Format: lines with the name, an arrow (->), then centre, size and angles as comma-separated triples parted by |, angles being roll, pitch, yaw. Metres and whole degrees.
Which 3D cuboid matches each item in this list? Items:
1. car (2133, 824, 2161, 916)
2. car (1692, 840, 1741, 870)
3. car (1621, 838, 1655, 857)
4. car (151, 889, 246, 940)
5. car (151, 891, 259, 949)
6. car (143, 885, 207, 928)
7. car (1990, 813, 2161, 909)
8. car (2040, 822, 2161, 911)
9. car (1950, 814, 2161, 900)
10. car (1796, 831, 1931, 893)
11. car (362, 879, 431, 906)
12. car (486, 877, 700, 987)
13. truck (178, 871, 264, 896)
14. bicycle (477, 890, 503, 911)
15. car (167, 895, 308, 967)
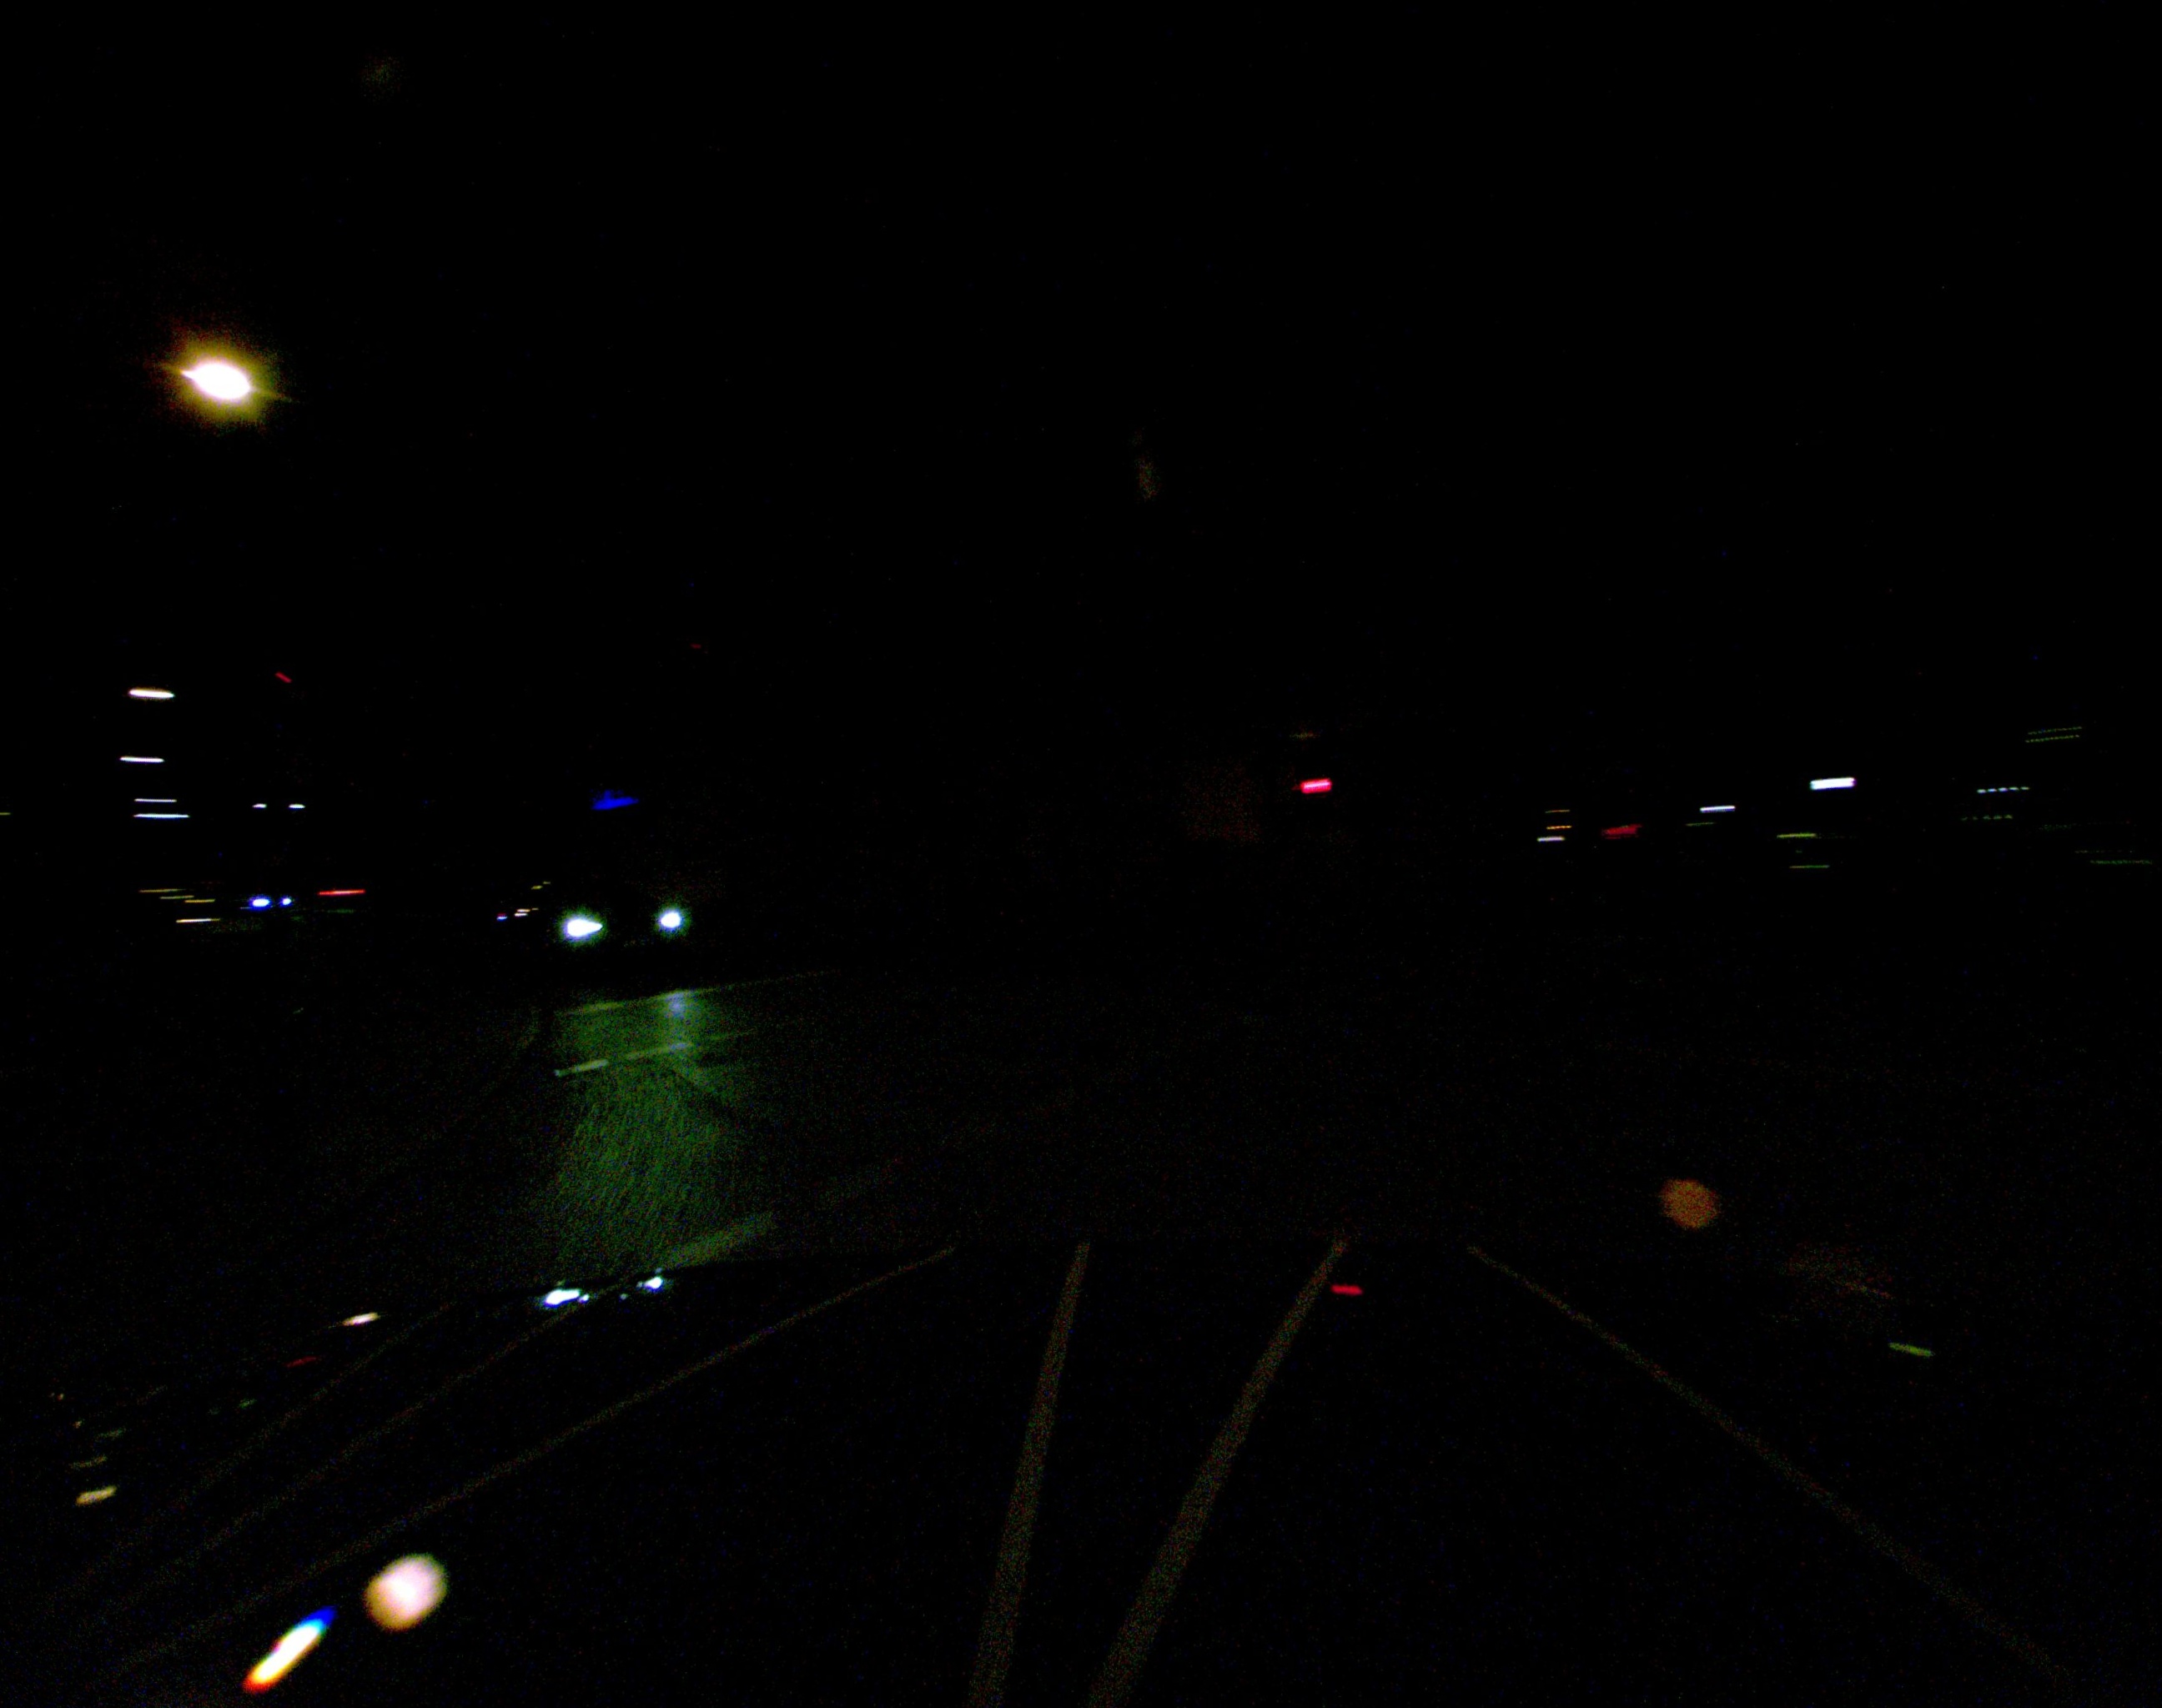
car -> 20.609, 0.219, 12.129 | 3.989, 1.613, 2.004 | -3, 1, 34
car -> 37.468, 0.017, 44.853 | 1.994, 1.624, 4.008 | -2, 1, 37
car -> 50.533, -0.574, 68.974 | 1.995, 1.624, 4.007 | -2, 0, 29
car -> -31.520, 2.120, 27.105 | 4.446, 1.613, 1.833 | -3, -1, 36
car -> -27.443, 1.999, 23.775 | 4.534, 1.535, 1.784 | -2, 1, 36
car -> -42.711, 2.461, 35.786 | 4.761, 1.863, 1.810 | -3, -2, 38
car -> 22.867, 0.125, 16.225 | 3.989, 1.934, 2.004 | -3, 1, 34
car -> 21.556, 0.180, 14.241 | 3.989, 1.613, 2.004 | -3, 1, 34
car -> 24.088, 0.074, 18.130 | 3.989, 1.875, 2.004 | -3, 1, 34
car -> 24.178, 0.207, 23.675 | 1.995, 1.771, 4.007 | -2, 0, 32
car -> -55.952, 3.102, 62.185 | 4.007, 1.878, 1.904 | -2, 1, -39
car -> -8.802, 1.283, 13.605 | 3.989, 1.606, 2.004 | -2, -1, 38
truck -> -145.593, 4.913, 128.818 | 9.375, 3.700, 1.995 | -2, 1, -36
bicycle -> -30.361, 2.372, 39.024 | 1.717, 1.045, 0.622 | -2, 1, 39
car -> -21.355, 1.851, 19.197 | 4.534, 1.480, 1.869 | -2, 1, 36
